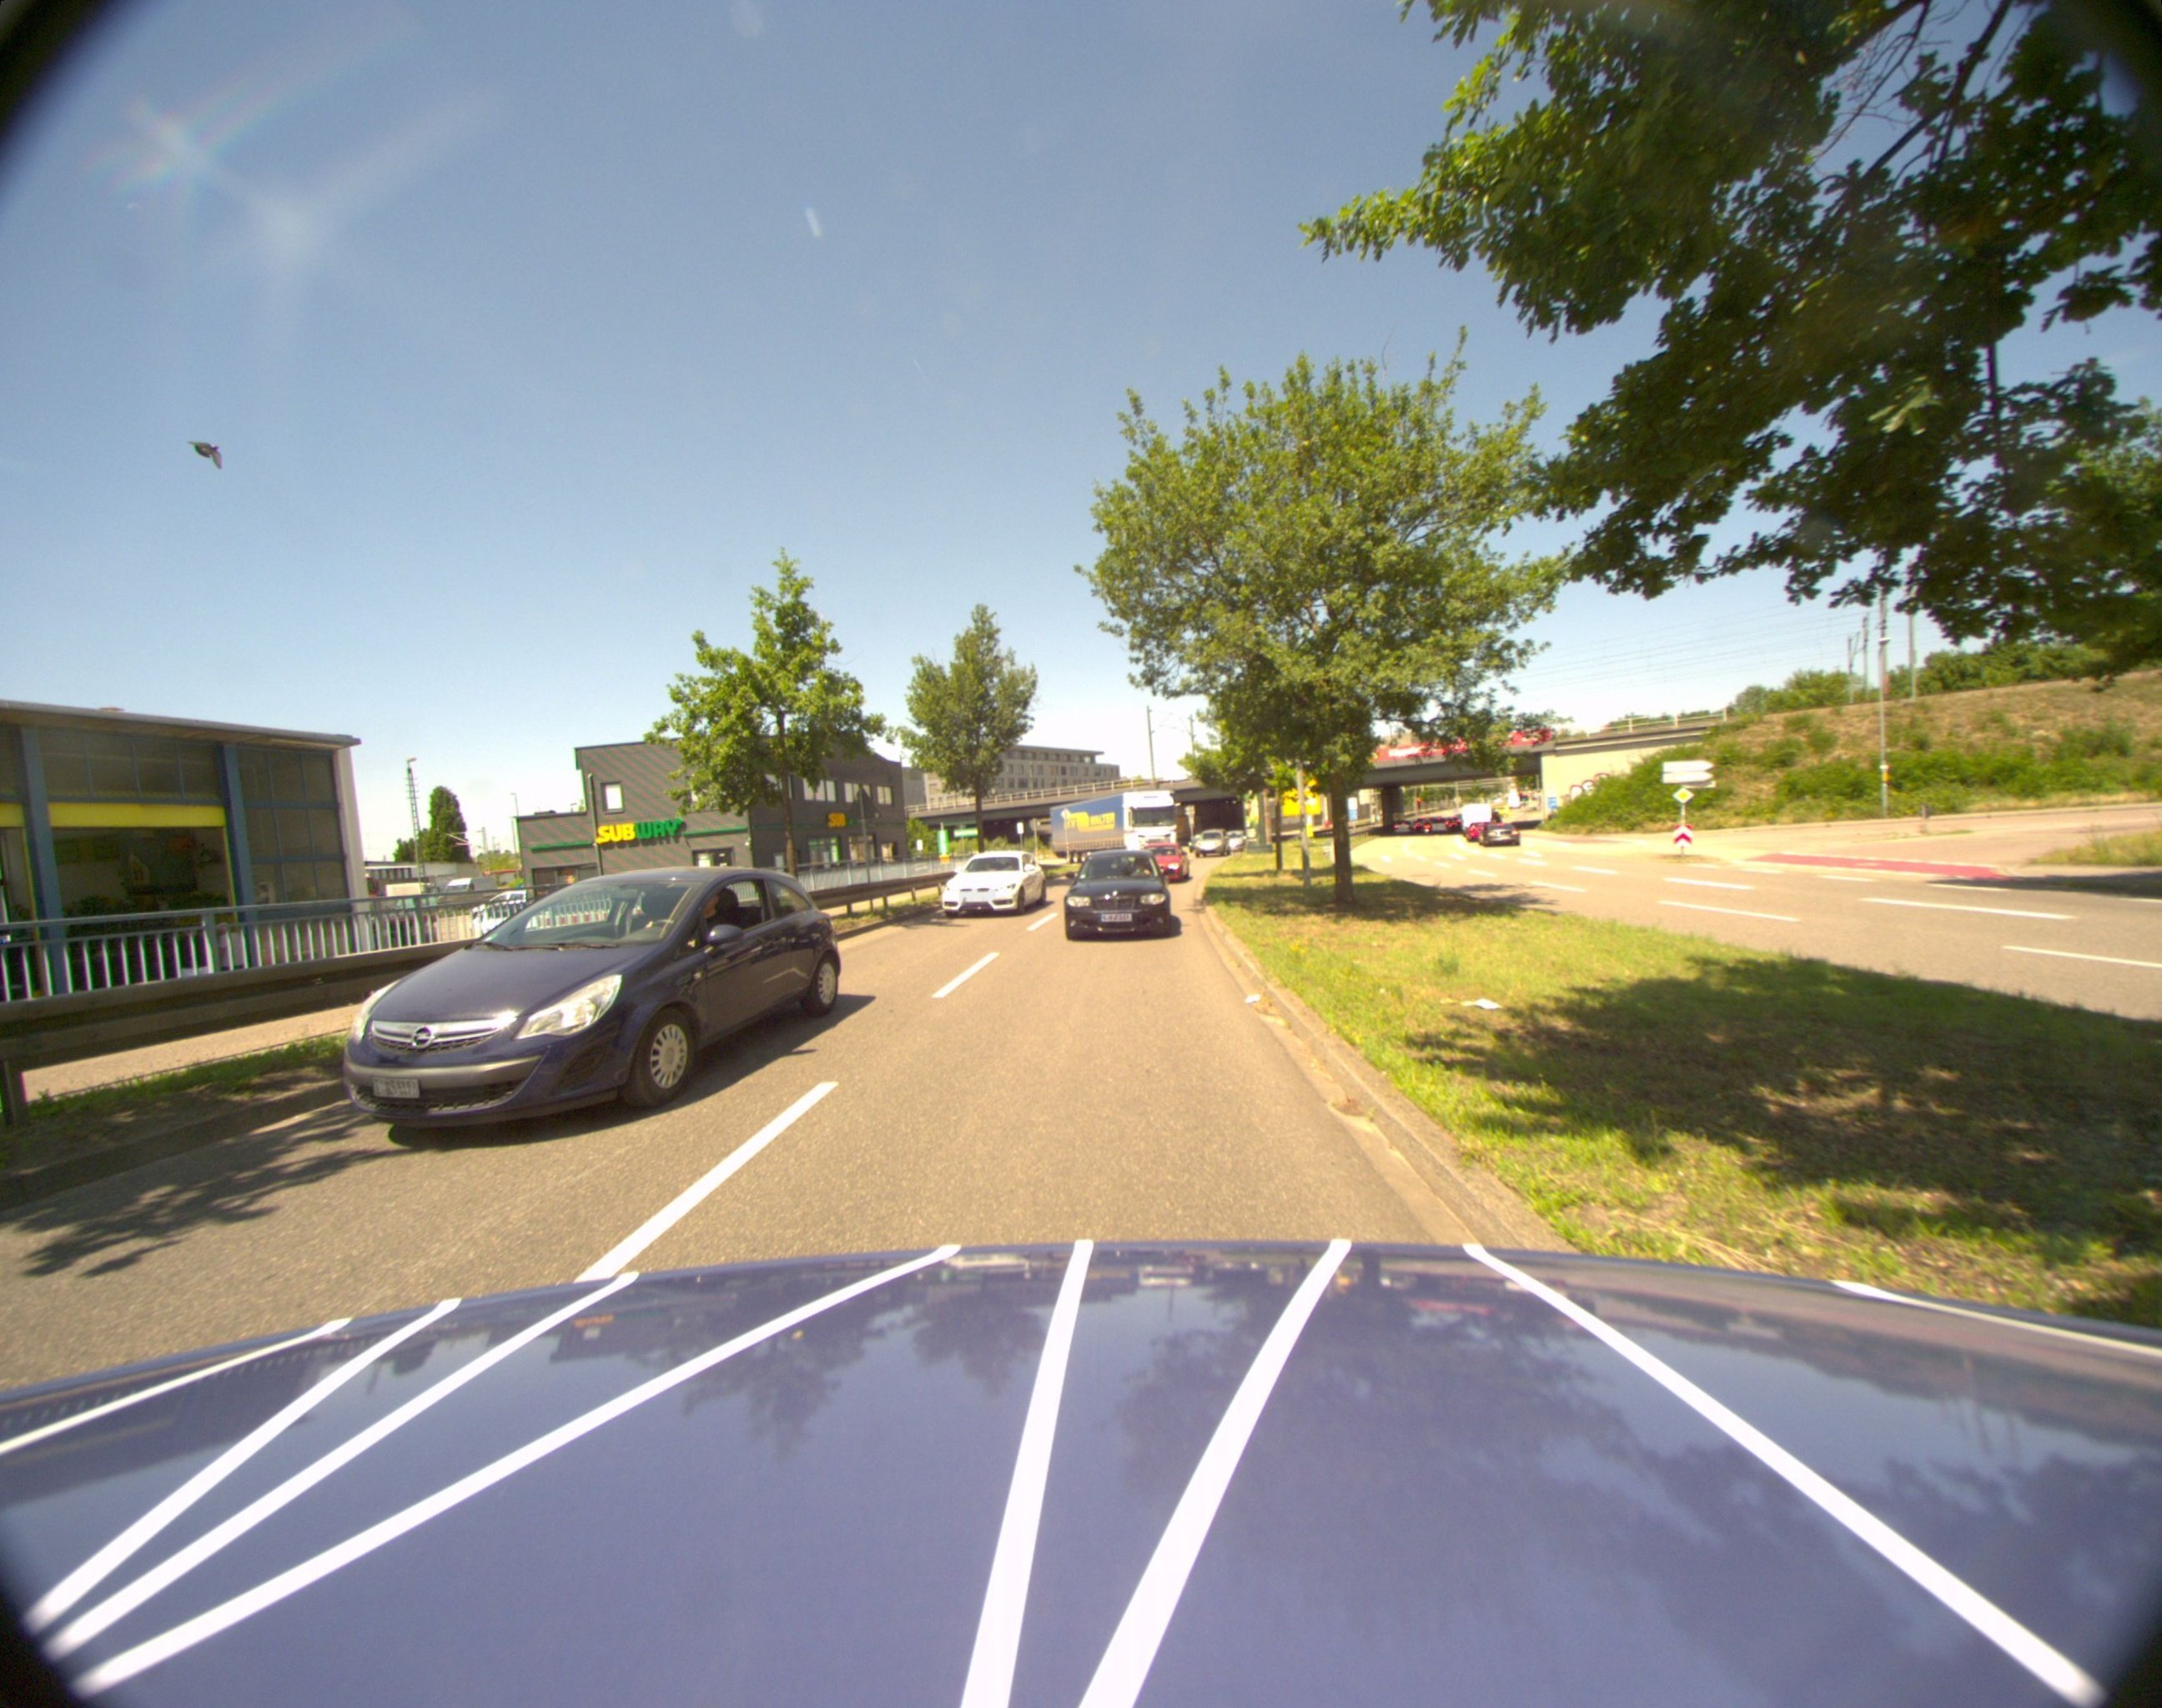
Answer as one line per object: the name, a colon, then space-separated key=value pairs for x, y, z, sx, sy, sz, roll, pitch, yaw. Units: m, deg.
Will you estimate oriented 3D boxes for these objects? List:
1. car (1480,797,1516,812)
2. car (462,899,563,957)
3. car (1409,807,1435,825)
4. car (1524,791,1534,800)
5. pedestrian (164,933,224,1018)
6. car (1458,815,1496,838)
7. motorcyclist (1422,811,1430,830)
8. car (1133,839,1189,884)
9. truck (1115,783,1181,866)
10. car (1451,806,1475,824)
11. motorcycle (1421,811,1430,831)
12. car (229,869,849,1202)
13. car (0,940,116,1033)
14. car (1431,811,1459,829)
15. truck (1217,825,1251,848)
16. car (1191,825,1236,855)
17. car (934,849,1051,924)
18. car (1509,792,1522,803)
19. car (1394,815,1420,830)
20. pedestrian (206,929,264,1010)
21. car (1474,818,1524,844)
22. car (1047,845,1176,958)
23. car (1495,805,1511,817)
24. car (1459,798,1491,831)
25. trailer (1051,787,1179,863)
car: x=59.121 y=-6.978 z=107.760 sx=4.310 sy=1.850 sz=1.875 roll=-2 pitch=3 yaw=26
car: x=-18.781 y=2.331 z=24.996 sx=2.003 sy=1.350 sz=5.068 roll=-6 pitch=3 yaw=-43
car: x=37.636 y=-4.204 z=83.773 sx=1.903 sy=1.849 sz=4.006 roll=-2 pitch=3 yaw=35
car: x=105.910 y=-13.835 z=179.620 sx=1.703 sy=2.003 sz=4.006 roll=-2 pitch=3 yaw=33
pedestrian: x=-18.764 y=2.560 z=16.080 sx=0.522 sy=1.693 sz=0.488 roll=-3 pitch=3 yaw=9
car: x=27.625 y=-1.967 z=53.133 sx=1.832 sy=1.429 sz=4.530 roll=-3 pitch=2 yaw=22
motorcyclist: x=30.580 y=-2.941 z=67.382 sx=0.587 sy=1.617 sz=0.563 roll=-2 pitch=3 yaw=28
car: x=2.980 y=0.218 z=27.490 sx=1.645 sy=1.391 sz=4.054 roll=-1 pitch=2 yaw=11
truck: x=3.575 y=-1.621 z=41.865 sx=2.575 sy=4.079 sz=5.758 roll=-4 pitch=2 yaw=-4
car: x=44.593 y=-4.549 z=88.650 sx=1.903 sy=1.849 sz=4.006 roll=-2 pitch=3 yaw=35
motorcycle: x=30.624 y=-2.969 z=67.501 sx=0.598 sy=1.669 sz=2.428 roll=-2 pitch=3 yaw=28
car: x=-3.325 y=0.967 z=5.758 sx=1.650 sy=1.436 sz=3.891 roll=-3 pitch=1 yaw=3
car: x=-23.868 y=2.919 z=16.527 sx=3.676 sy=1.675 sz=1.650 roll=-3 pitch=3 yaw=4
car: x=33.667 y=-3.169 z=70.248 sx=1.635 sy=1.558 sz=4.079 roll=-1 pitch=2 yaw=36
truck: x=11.404 y=-1.303 z=56.453 sx=1.728 sy=1.493 sz=4.004 roll=-3 pitch=2 yaw=22
car: x=8.627 y=-0.939 z=49.257 sx=1.842 sy=1.686 sz=3.704 roll=-2 pitch=3 yaw=25
car: x=-1.985 y=0.698 z=18.304 sx=1.761 sy=1.435 sz=4.053 roll=-1 pitch=2 yaw=8
car: x=91.594 y=-11.964 z=160.141 sx=1.995 sy=2.091 sz=6.392 roll=-2 pitch=3 yaw=33
car: x=31.530 y=-3.060 z=73.449 sx=1.635 sy=1.395 sz=4.228 roll=-1 pitch=3 yaw=32
pedestrian: x=-18.773 y=2.557 z=16.862 sx=0.427 sy=1.693 sz=0.589 roll=-3 pitch=3 yaw=7
car: x=25.036 y=-1.426 z=45.681 sx=1.811 sy=1.326 sz=4.573 roll=-3 pitch=2 yaw=19
car: x=0.681 y=0.670 z=12.885 sx=1.680 sy=1.409 sz=4.057 roll=-3 pitch=2 yaw=9
car: x=48.359 y=-4.893 z=87.077 sx=1.183 sy=1.241 sz=2.696 roll=-2 pitch=3 yaw=39
car: x=32.102 y=-3.170 z=62.089 sx=2.096 sy=2.486 sz=5.818 roll=-2 pitch=1 yaw=26
trailer: x=1.678 y=-1.631 z=48.588 sx=2.502 sy=4.067 sz=13.879 roll=-5 pitch=2 yaw=-21
